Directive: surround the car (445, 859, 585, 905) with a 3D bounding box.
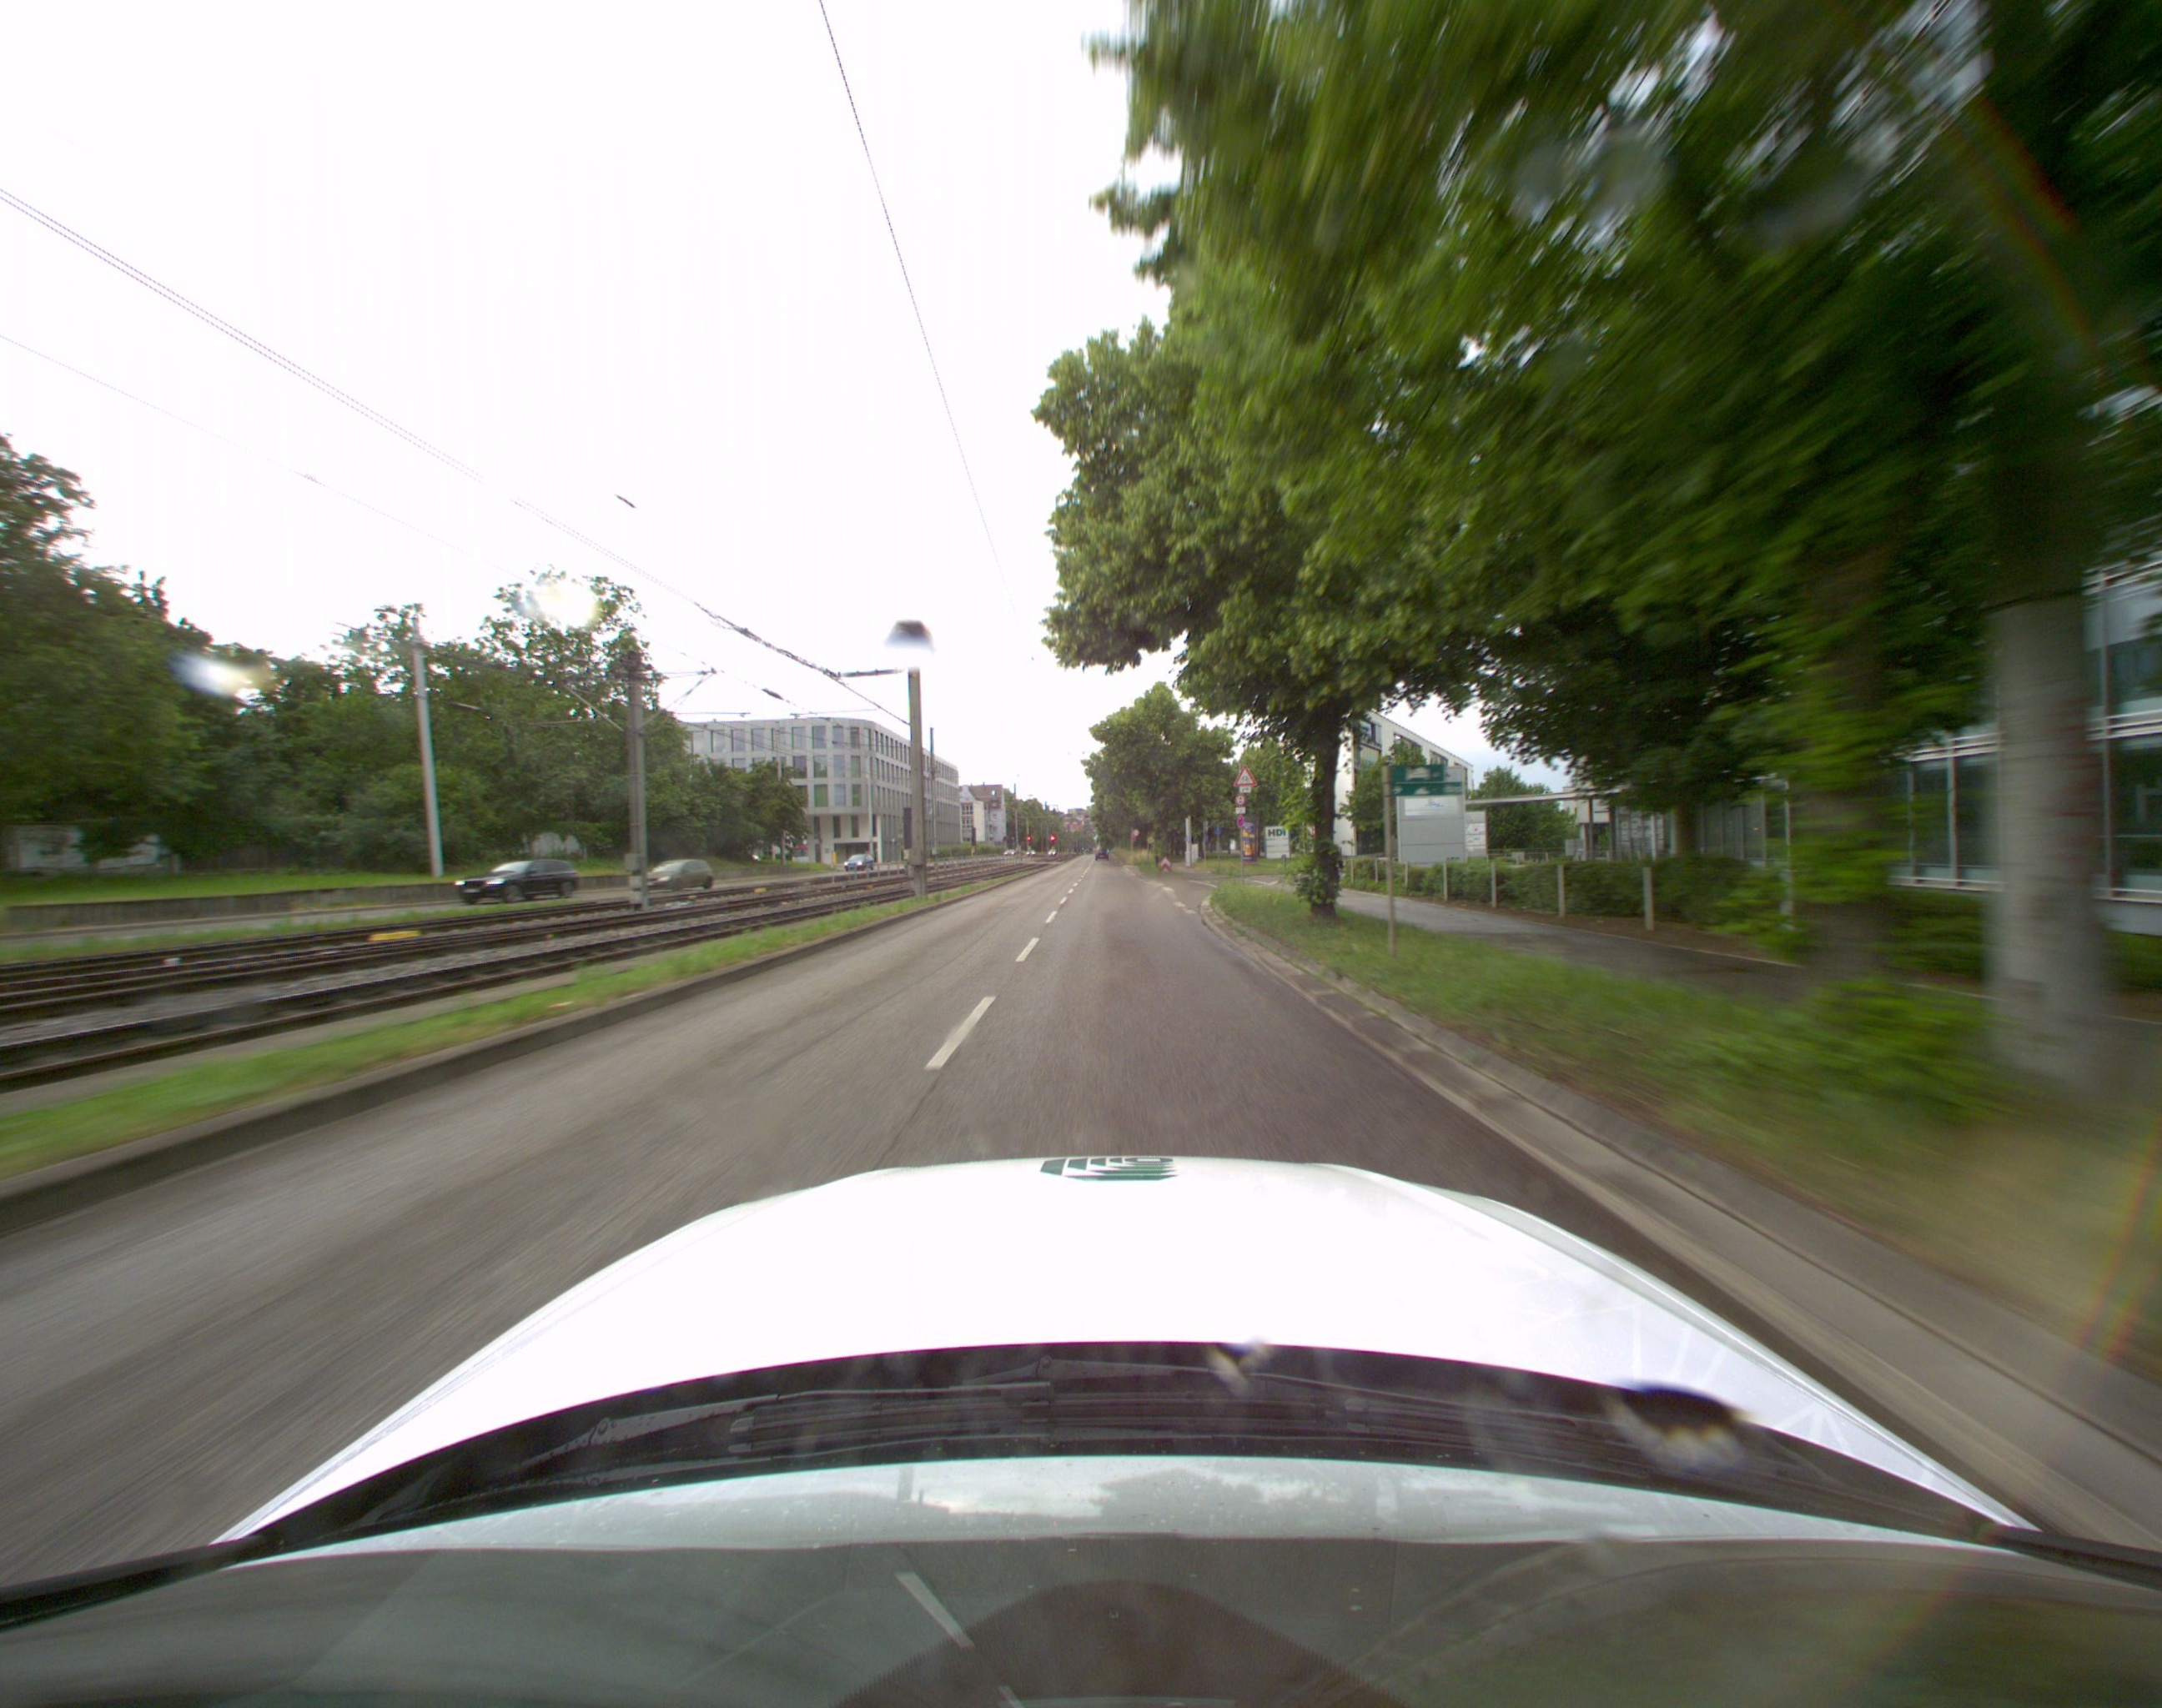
[{"bbox_3d":[-22.185,1.040,32.228,1.940,1.595,4.851,-2,0,3],"label":"car"}]

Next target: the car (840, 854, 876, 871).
[{"bbox_3d":[-19.563,0.716,71.642,1.753,1.397,3.905,-2,0,4],"label":"car"}]

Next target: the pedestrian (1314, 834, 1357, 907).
[{"bbox_3d":[6.407,0.404,20.568,0.822,1.797,0.868,-1,0,2],"label":"pedestrian"}]

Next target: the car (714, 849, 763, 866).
[{"bbox_3d":[-32.962,0.331,78.501,3.907,1.453,1.925,1,0,-1],"label":"car"}]

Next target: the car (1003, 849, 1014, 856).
[{"bbox_3d":[-14.605,-0.359,163.847,1.750,1.244,3.990,-2,0,2],"label":"car"}]

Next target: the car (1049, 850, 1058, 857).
[{"bbox_3d":[-7.298,-0.169,219.457,1.894,1.644,4.888,-2,0,3],"label":"car"}]

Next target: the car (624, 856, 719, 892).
[{"bbox_3d":[-18.746,0.878,37.519,1.882,1.486,4.313,-2,0,4],"label":"car"}]

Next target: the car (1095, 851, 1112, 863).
[{"bbox_3d":[2.838,0.355,102.613,1.975,1.440,4.476,-2,0,2],"label":"car"}]
